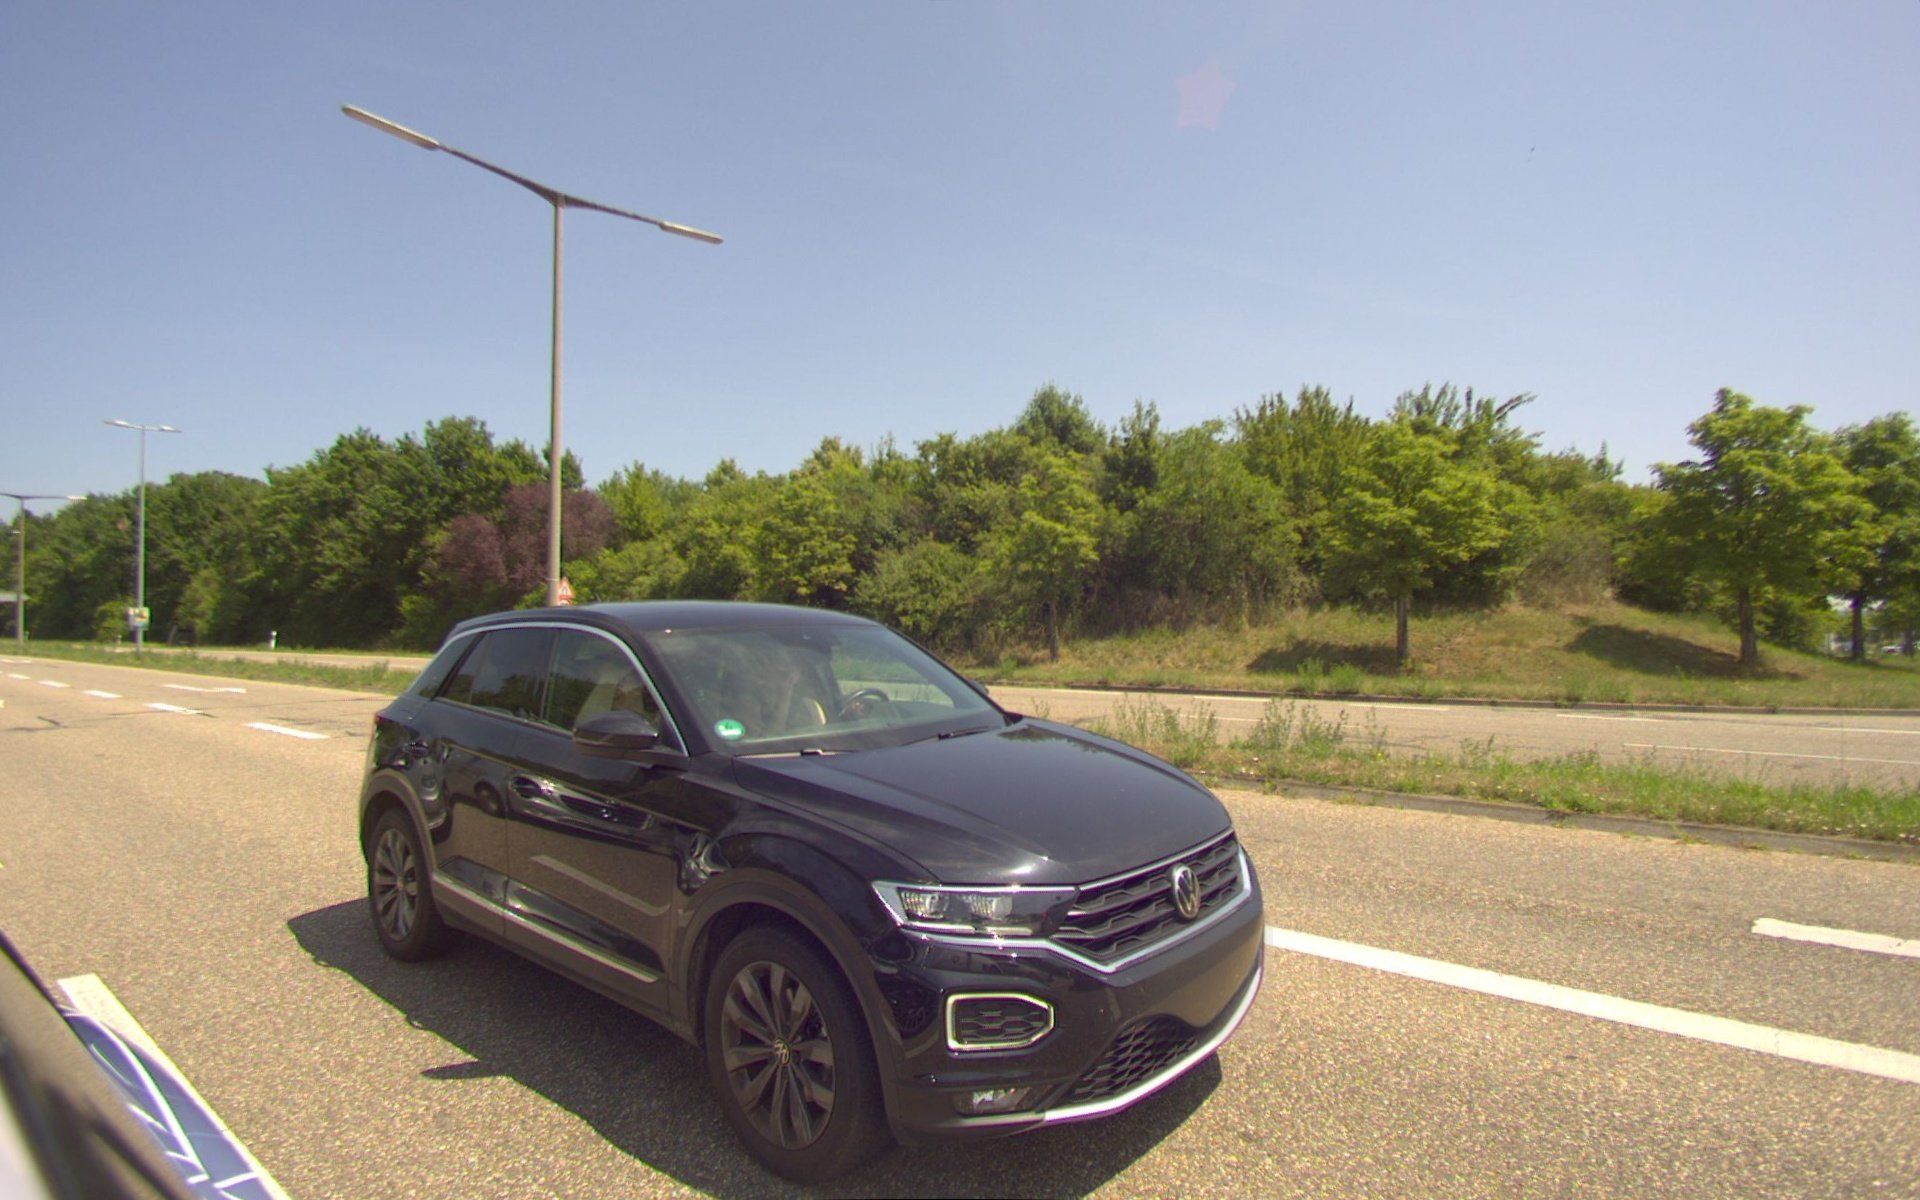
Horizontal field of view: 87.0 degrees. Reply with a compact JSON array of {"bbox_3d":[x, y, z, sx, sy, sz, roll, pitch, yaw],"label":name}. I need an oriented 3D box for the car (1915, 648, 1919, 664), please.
[{"bbox_3d":[86.913,5.022,90.533,1.630,1.371,3.952,-2,-2,36],"label":"car"}]

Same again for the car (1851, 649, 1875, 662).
[{"bbox_3d":[105.064,6.446,117.833,1.630,1.371,3.952,-2,-2,36],"label":"car"}]

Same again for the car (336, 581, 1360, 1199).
[{"bbox_3d":[-0.767,0.734,3.918,3.968,1.523,1.716,-1,0,41],"label":"car"}]
